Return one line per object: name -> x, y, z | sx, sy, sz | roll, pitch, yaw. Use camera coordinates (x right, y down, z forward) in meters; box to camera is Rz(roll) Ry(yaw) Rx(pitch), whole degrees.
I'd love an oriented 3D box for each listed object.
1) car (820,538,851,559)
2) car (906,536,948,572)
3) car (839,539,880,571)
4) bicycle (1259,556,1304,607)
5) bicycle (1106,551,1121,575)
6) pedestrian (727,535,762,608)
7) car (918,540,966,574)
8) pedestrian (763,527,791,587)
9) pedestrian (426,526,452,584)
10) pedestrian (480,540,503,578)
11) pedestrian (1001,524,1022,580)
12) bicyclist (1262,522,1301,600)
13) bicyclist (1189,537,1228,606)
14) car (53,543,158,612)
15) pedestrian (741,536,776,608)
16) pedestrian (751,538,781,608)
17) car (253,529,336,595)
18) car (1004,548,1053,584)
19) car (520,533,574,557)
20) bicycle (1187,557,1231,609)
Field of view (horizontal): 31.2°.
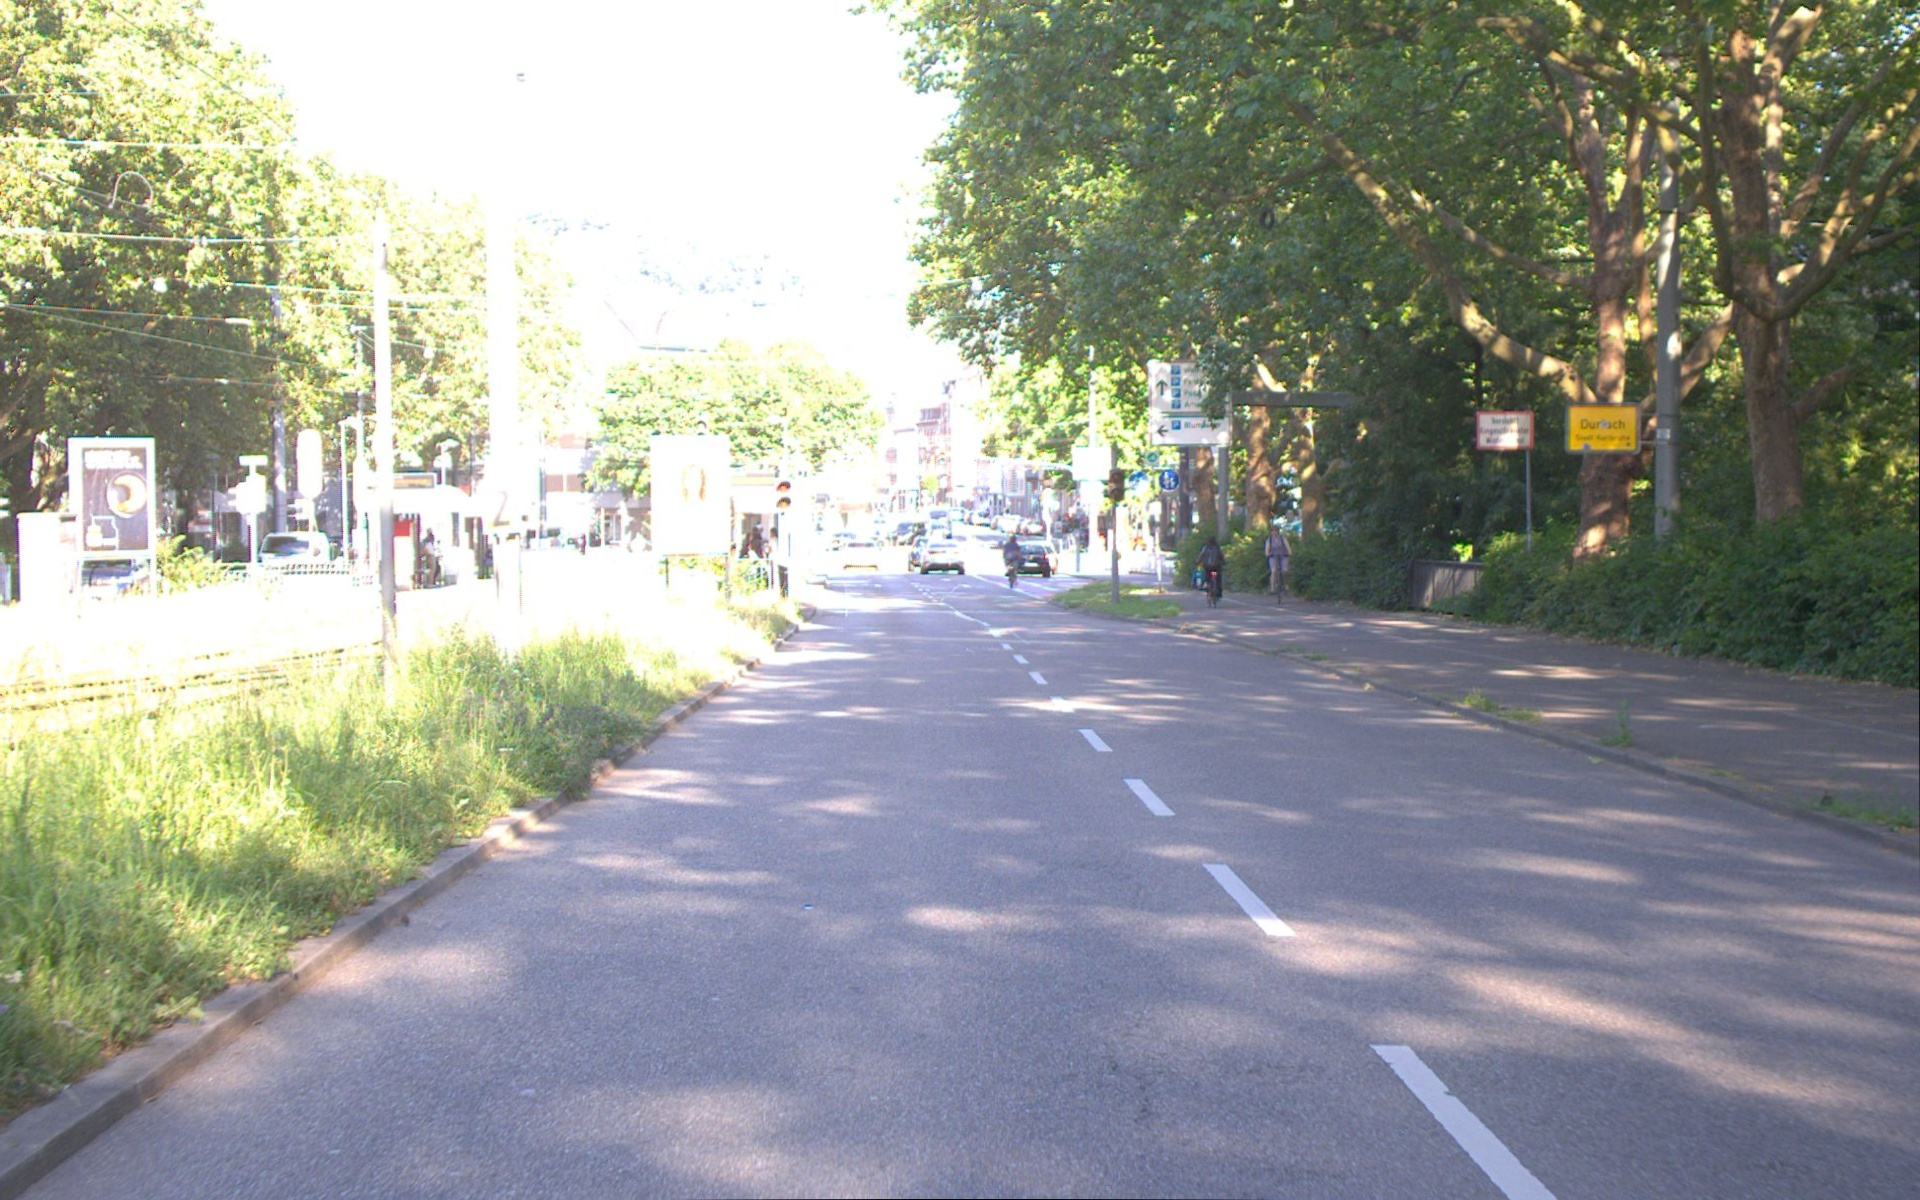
car -> -9.124, -3.749, 251.509 | 1.794, 1.505, 3.999 | 0, 0, 5
car -> -1.523, -2.119, 157.119 | 1.800, 1.632, 4.046 | 0, 1, -3
car -> -4.646, -2.084, 158.886 | 1.808, 1.447, 4.001 | 1, 1, -3
bicycle -> 7.193, -0.419, 76.973 | 0.699, 1.104, 1.930 | 0, 1, -3
bicycle -> 7.165, -1.720, 160.397 | 0.498, 1.071, 1.800 | 1, 0, -2
pedestrian -> -4.693, -0.622, 74.964 | 0.520, 1.563, 0.507 | -2, 1, 28
car -> -0.797, -1.885, 149.688 | 1.929, 1.467, 4.855 | 0, 1, -2
pedestrian -> -5.281, -1.242, 98.986 | 0.742, 1.688, 0.791 | 1, 1, -1
pedestrian -> -16.053, -1.394, 105.946 | 0.648, 1.766, 0.650 | 1, 0, 1
pedestrian -> -16.584, -1.459, 121.660 | 0.669, 1.320, 0.757 | -3, 1, -4
pedestrian -> 1.708, -1.601, 114.299 | 0.657, 1.864, 0.678 | 0, 1, -2
bicyclist -> 7.194, -0.881, 76.968 | 0.699, 1.722, 1.080 | 0, 1, -3
bicyclist -> 5.419, -0.621, 74.967 | 0.766, 1.507, 0.650 | 0, 1, -2
car -> -21.400, -0.569, 86.236 | 1.902, 1.646, 3.973 | -2, 1, -5
pedestrian -> -4.427, -0.619, 75.378 | 0.520, 1.563, 0.507 | -2, 1, 28
pedestrian -> -4.307, -0.595, 76.164 | 0.589, 1.514, 0.514 | -2, 1, -1
car -> -22.301, -1.265, 115.384 | 2.067, 2.117, 5.091 | -2, 1, -4
car -> 2.878, -1.460, 144.749 | 1.800, 1.434, 4.046 | 1, 1, -2
car -> -28.427, -3.798, 236.817 | 1.797, 1.643, 4.004 | 1, 1, 27
bicycle -> 5.419, -0.374, 74.967 | 0.766, 1.104, 1.800 | 0, 1, -2
